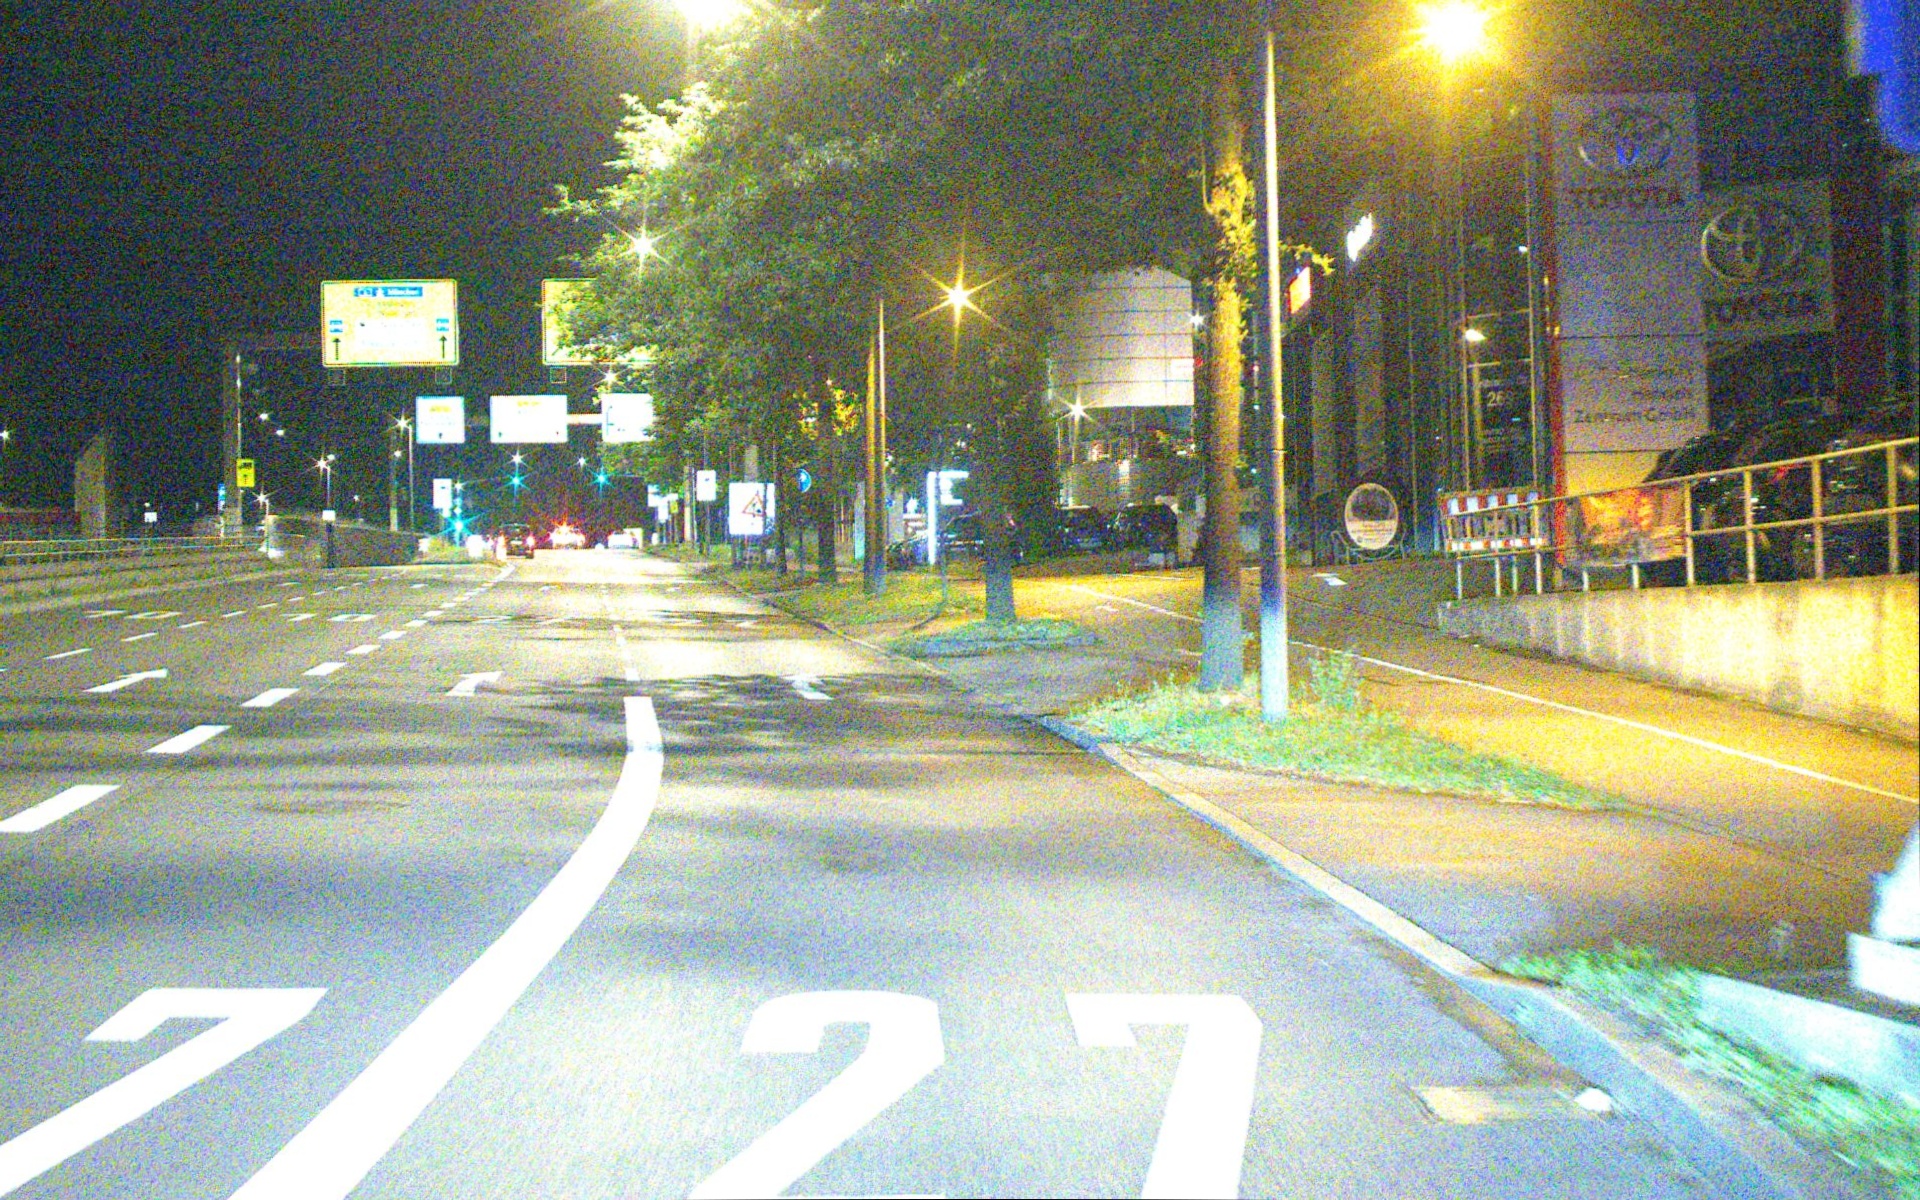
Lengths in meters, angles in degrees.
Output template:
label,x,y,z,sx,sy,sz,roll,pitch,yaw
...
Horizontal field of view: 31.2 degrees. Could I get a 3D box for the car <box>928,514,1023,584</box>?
label,x,y,z,sx,sy,sz,roll,pitch,yaw
car,0.482,-1.468,100.455,1.994,1.938,3.998,1,0,11

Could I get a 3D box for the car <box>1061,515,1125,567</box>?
label,x,y,z,sx,sy,sz,roll,pitch,yaw
car,4.127,-1.830,107.467,1.892,1.506,3.636,1,0,1

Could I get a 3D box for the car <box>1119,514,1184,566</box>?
label,x,y,z,sx,sy,sz,roll,pitch,yaw
car,6.053,-1.884,109.039,1.892,1.506,3.636,1,0,1

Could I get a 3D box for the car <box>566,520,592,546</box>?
label,x,y,z,sx,sy,sz,roll,pitch,yaw
car,-26.944,-4.722,243.256,1.780,1.722,4.001,1,0,-6

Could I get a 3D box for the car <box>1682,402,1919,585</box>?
label,x,y,z,sx,sy,sz,roll,pitch,yaw
car,8.516,-0.962,30.459,3.724,1.484,1.742,-2,0,-7

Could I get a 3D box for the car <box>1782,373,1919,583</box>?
label,x,y,z,sx,sy,sz,roll,pitch,yaw
car,8.869,-1.056,28.019,3.746,1.582,1.781,-3,-1,-7

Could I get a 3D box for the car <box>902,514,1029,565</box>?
label,x,y,z,sx,sy,sz,roll,pitch,yaw
car,0.160,-1.844,105.372,3.623,1.446,1.708,1,-1,-9

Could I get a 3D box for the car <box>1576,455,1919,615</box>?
label,x,y,z,sx,sy,sz,roll,pitch,yaw
car,8.565,-0.702,36.500,3.832,1.485,1.739,-3,-1,-36

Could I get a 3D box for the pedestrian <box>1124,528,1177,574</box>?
label,x,y,z,sx,sy,sz,roll,pitch,yaw
pedestrian,4.341,-1.119,78.386,0.912,1.035,0.770,-1,0,38

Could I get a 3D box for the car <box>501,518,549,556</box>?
label,x,y,z,sx,sy,sz,roll,pitch,yaw
car,-20.579,-2.973,162.873,1.967,1.705,4.000,1,0,-4

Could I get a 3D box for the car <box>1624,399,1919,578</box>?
label,x,y,z,sx,sy,sz,roll,pitch,yaw
car,8.424,-1.083,33.031,3.561,1.564,1.727,-3,0,-10

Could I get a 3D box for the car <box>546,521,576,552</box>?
label,x,y,z,sx,sy,sz,roll,pitch,yaw
car,-27.416,-4.379,236.470,1.993,2.007,4.001,1,0,-6

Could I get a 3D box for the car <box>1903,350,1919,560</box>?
label,x,y,z,sx,sy,sz,roll,pitch,yaw
car,9.263,-1.178,25.444,3.986,1.566,1.739,-2,0,-4

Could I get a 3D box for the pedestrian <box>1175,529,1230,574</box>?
label,x,y,z,sx,sy,sz,roll,pitch,yaw
pedestrian,5.538,-1.108,78.450,0.997,1.004,0.772,1,-1,-21

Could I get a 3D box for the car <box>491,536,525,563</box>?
label,x,y,z,sx,sy,sz,roll,pitch,yaw
car,-28.643,-3.184,217.823,1.993,1.590,4.001,0,0,-6
